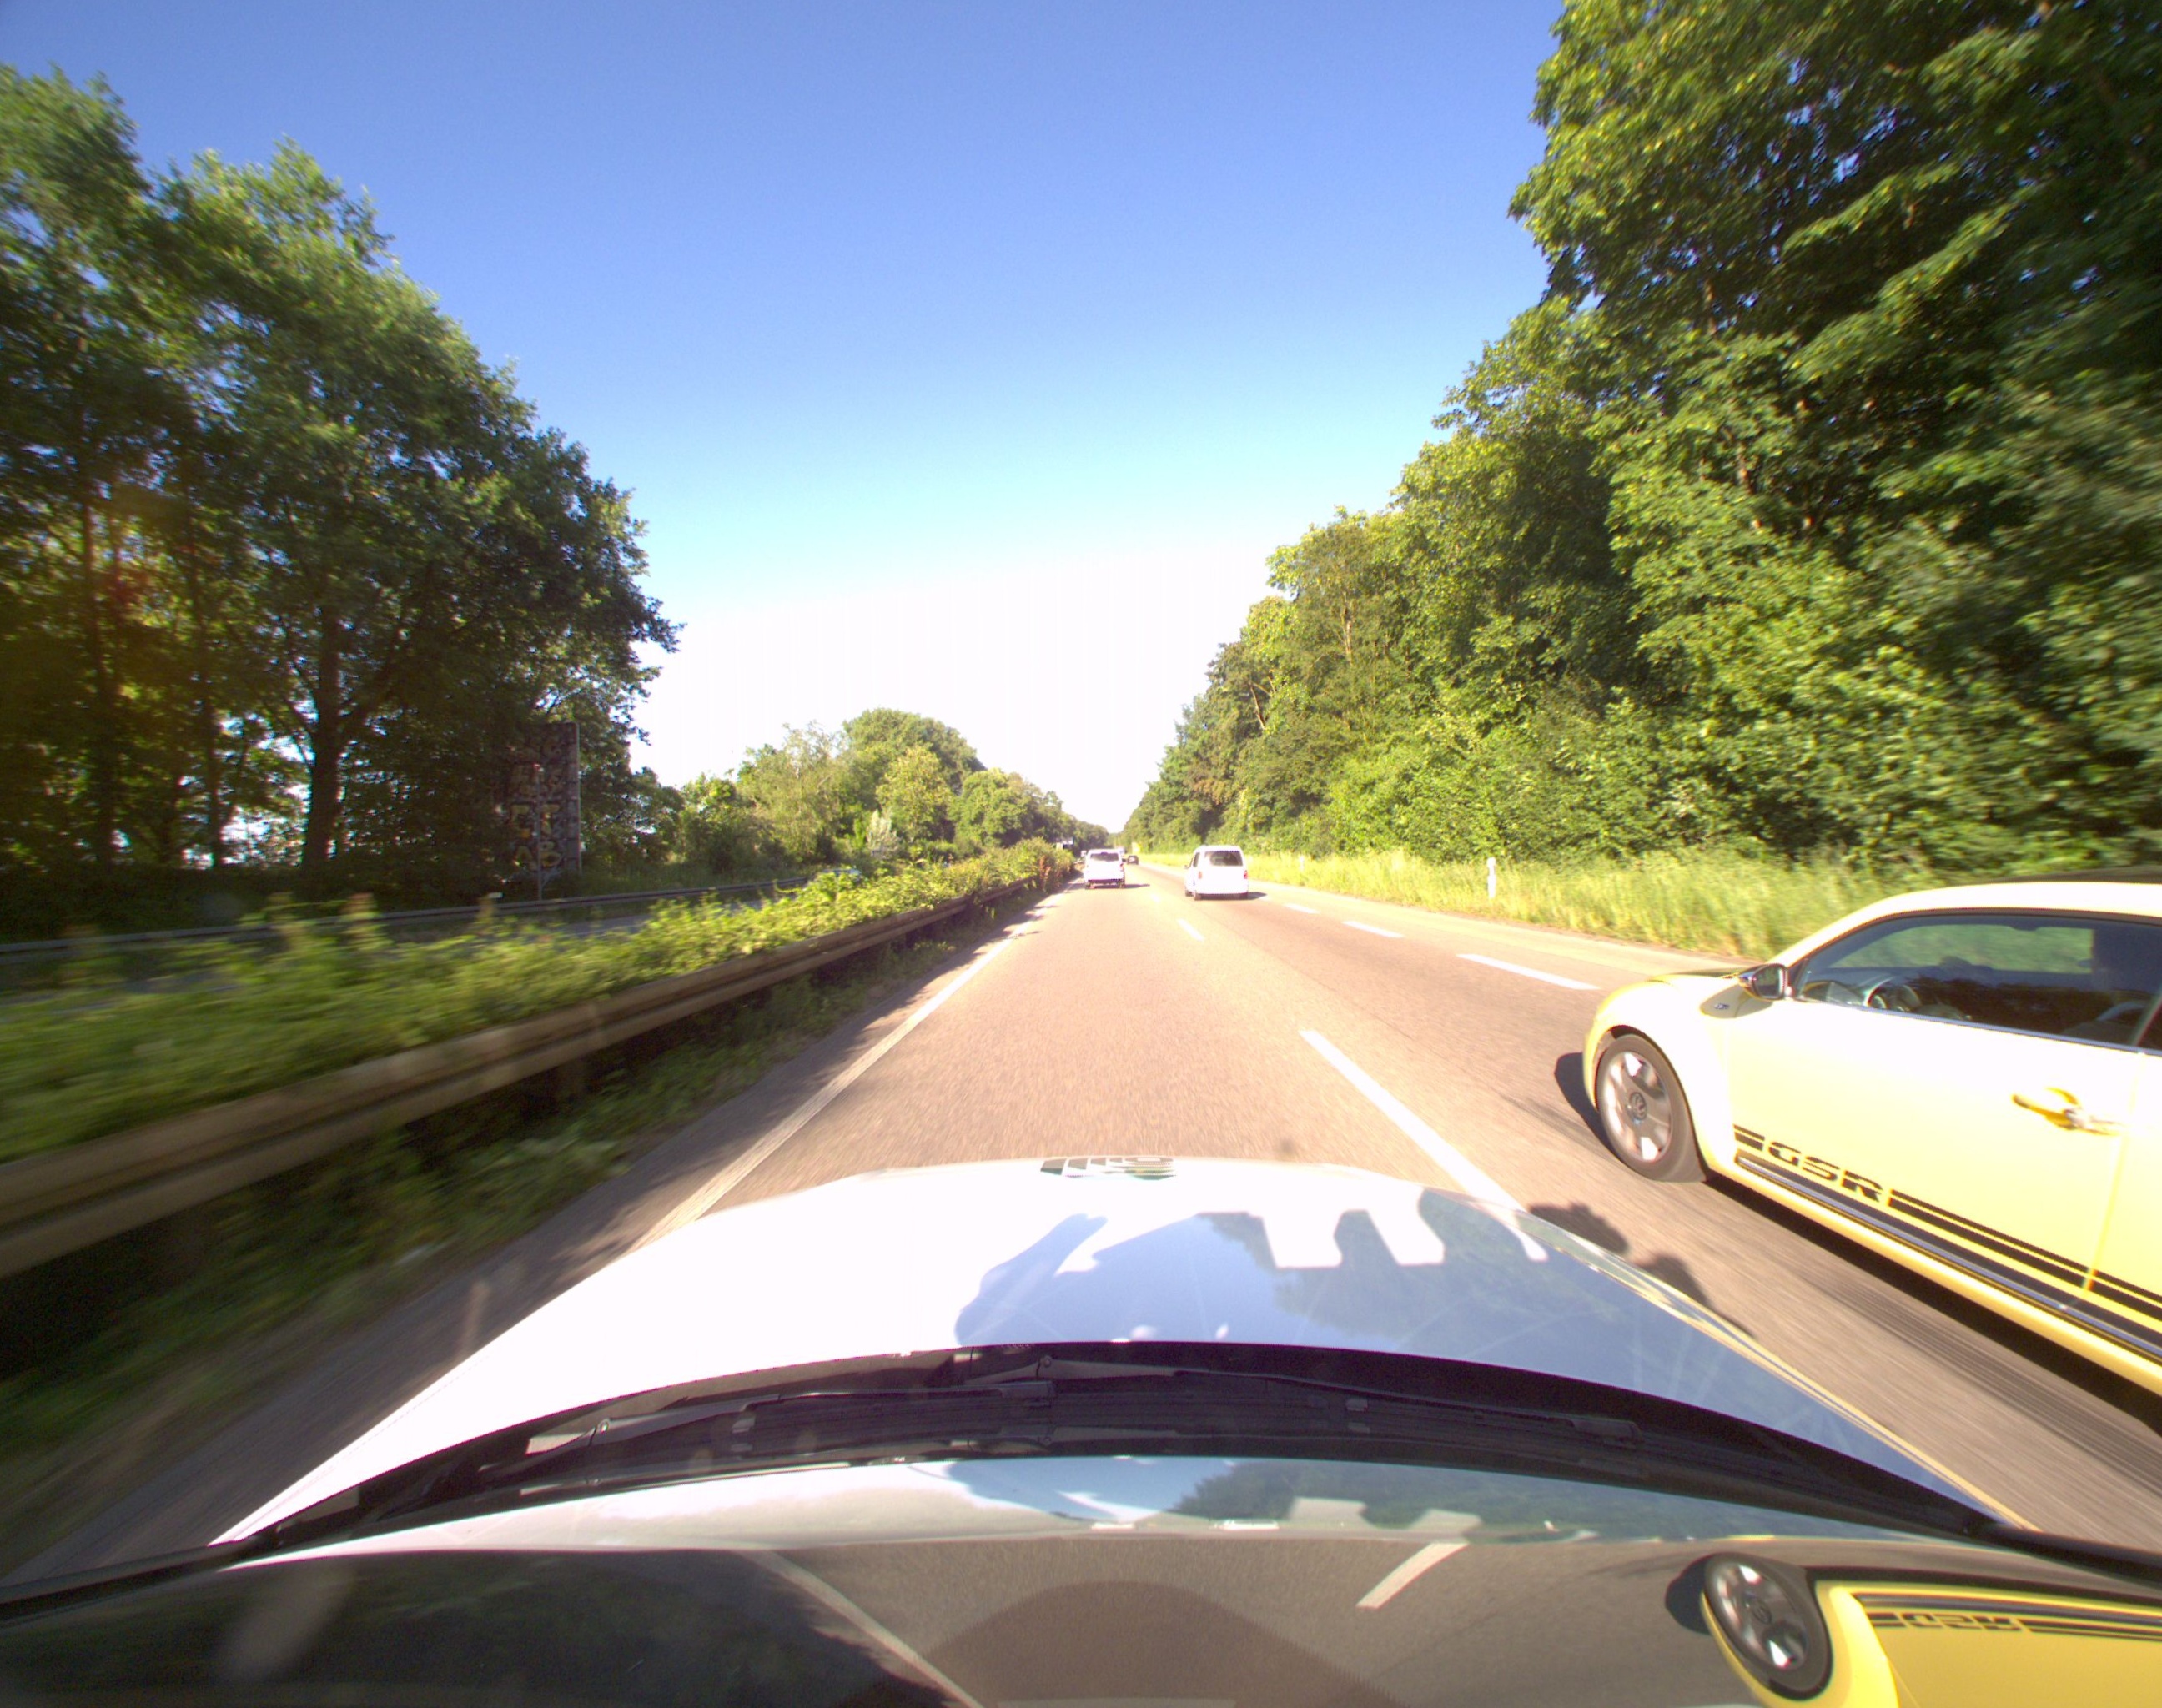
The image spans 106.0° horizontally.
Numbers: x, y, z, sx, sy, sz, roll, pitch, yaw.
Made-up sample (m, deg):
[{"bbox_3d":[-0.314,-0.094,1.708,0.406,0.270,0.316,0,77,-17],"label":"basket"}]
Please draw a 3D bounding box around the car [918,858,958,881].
[{"bbox_3d":[-9.924,1.051,56.788,1.955,1.450,4.505,-2,0,-1],"label":"car"}]

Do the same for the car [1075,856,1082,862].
[{"bbox_3d":[-0.672,1.290,218.115,1.870,1.540,4.466,-2,0,1],"label":"car"}]

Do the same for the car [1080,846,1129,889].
[{"bbox_3d":[1.031,0.580,37.501,2.079,1.828,3.999,-1,0,0],"label":"car"}]

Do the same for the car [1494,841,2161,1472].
[{"bbox_3d":[3.471,0.694,2.896,1.872,1.461,4.357,-1,0,1],"label":"car"}]

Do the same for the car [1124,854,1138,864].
[{"bbox_3d":[7.651,0.769,123.841,1.986,1.398,4.001,-1,0,1],"label":"car"}]

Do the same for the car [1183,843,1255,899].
[{"bbox_3d":[4.665,0.539,28.132,1.856,1.770,4.472,-1,0,2],"label":"car"}]

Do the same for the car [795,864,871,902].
[{"bbox_3d":[-10.758,1.221,35.664,1.955,1.450,4.505,-1,0,-1],"label":"car"}]

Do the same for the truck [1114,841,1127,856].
[{"bbox_3d":[11.685,-1.645,241.066,3.483,4.172,8.865,-2,0,2],"label":"truck"}]
